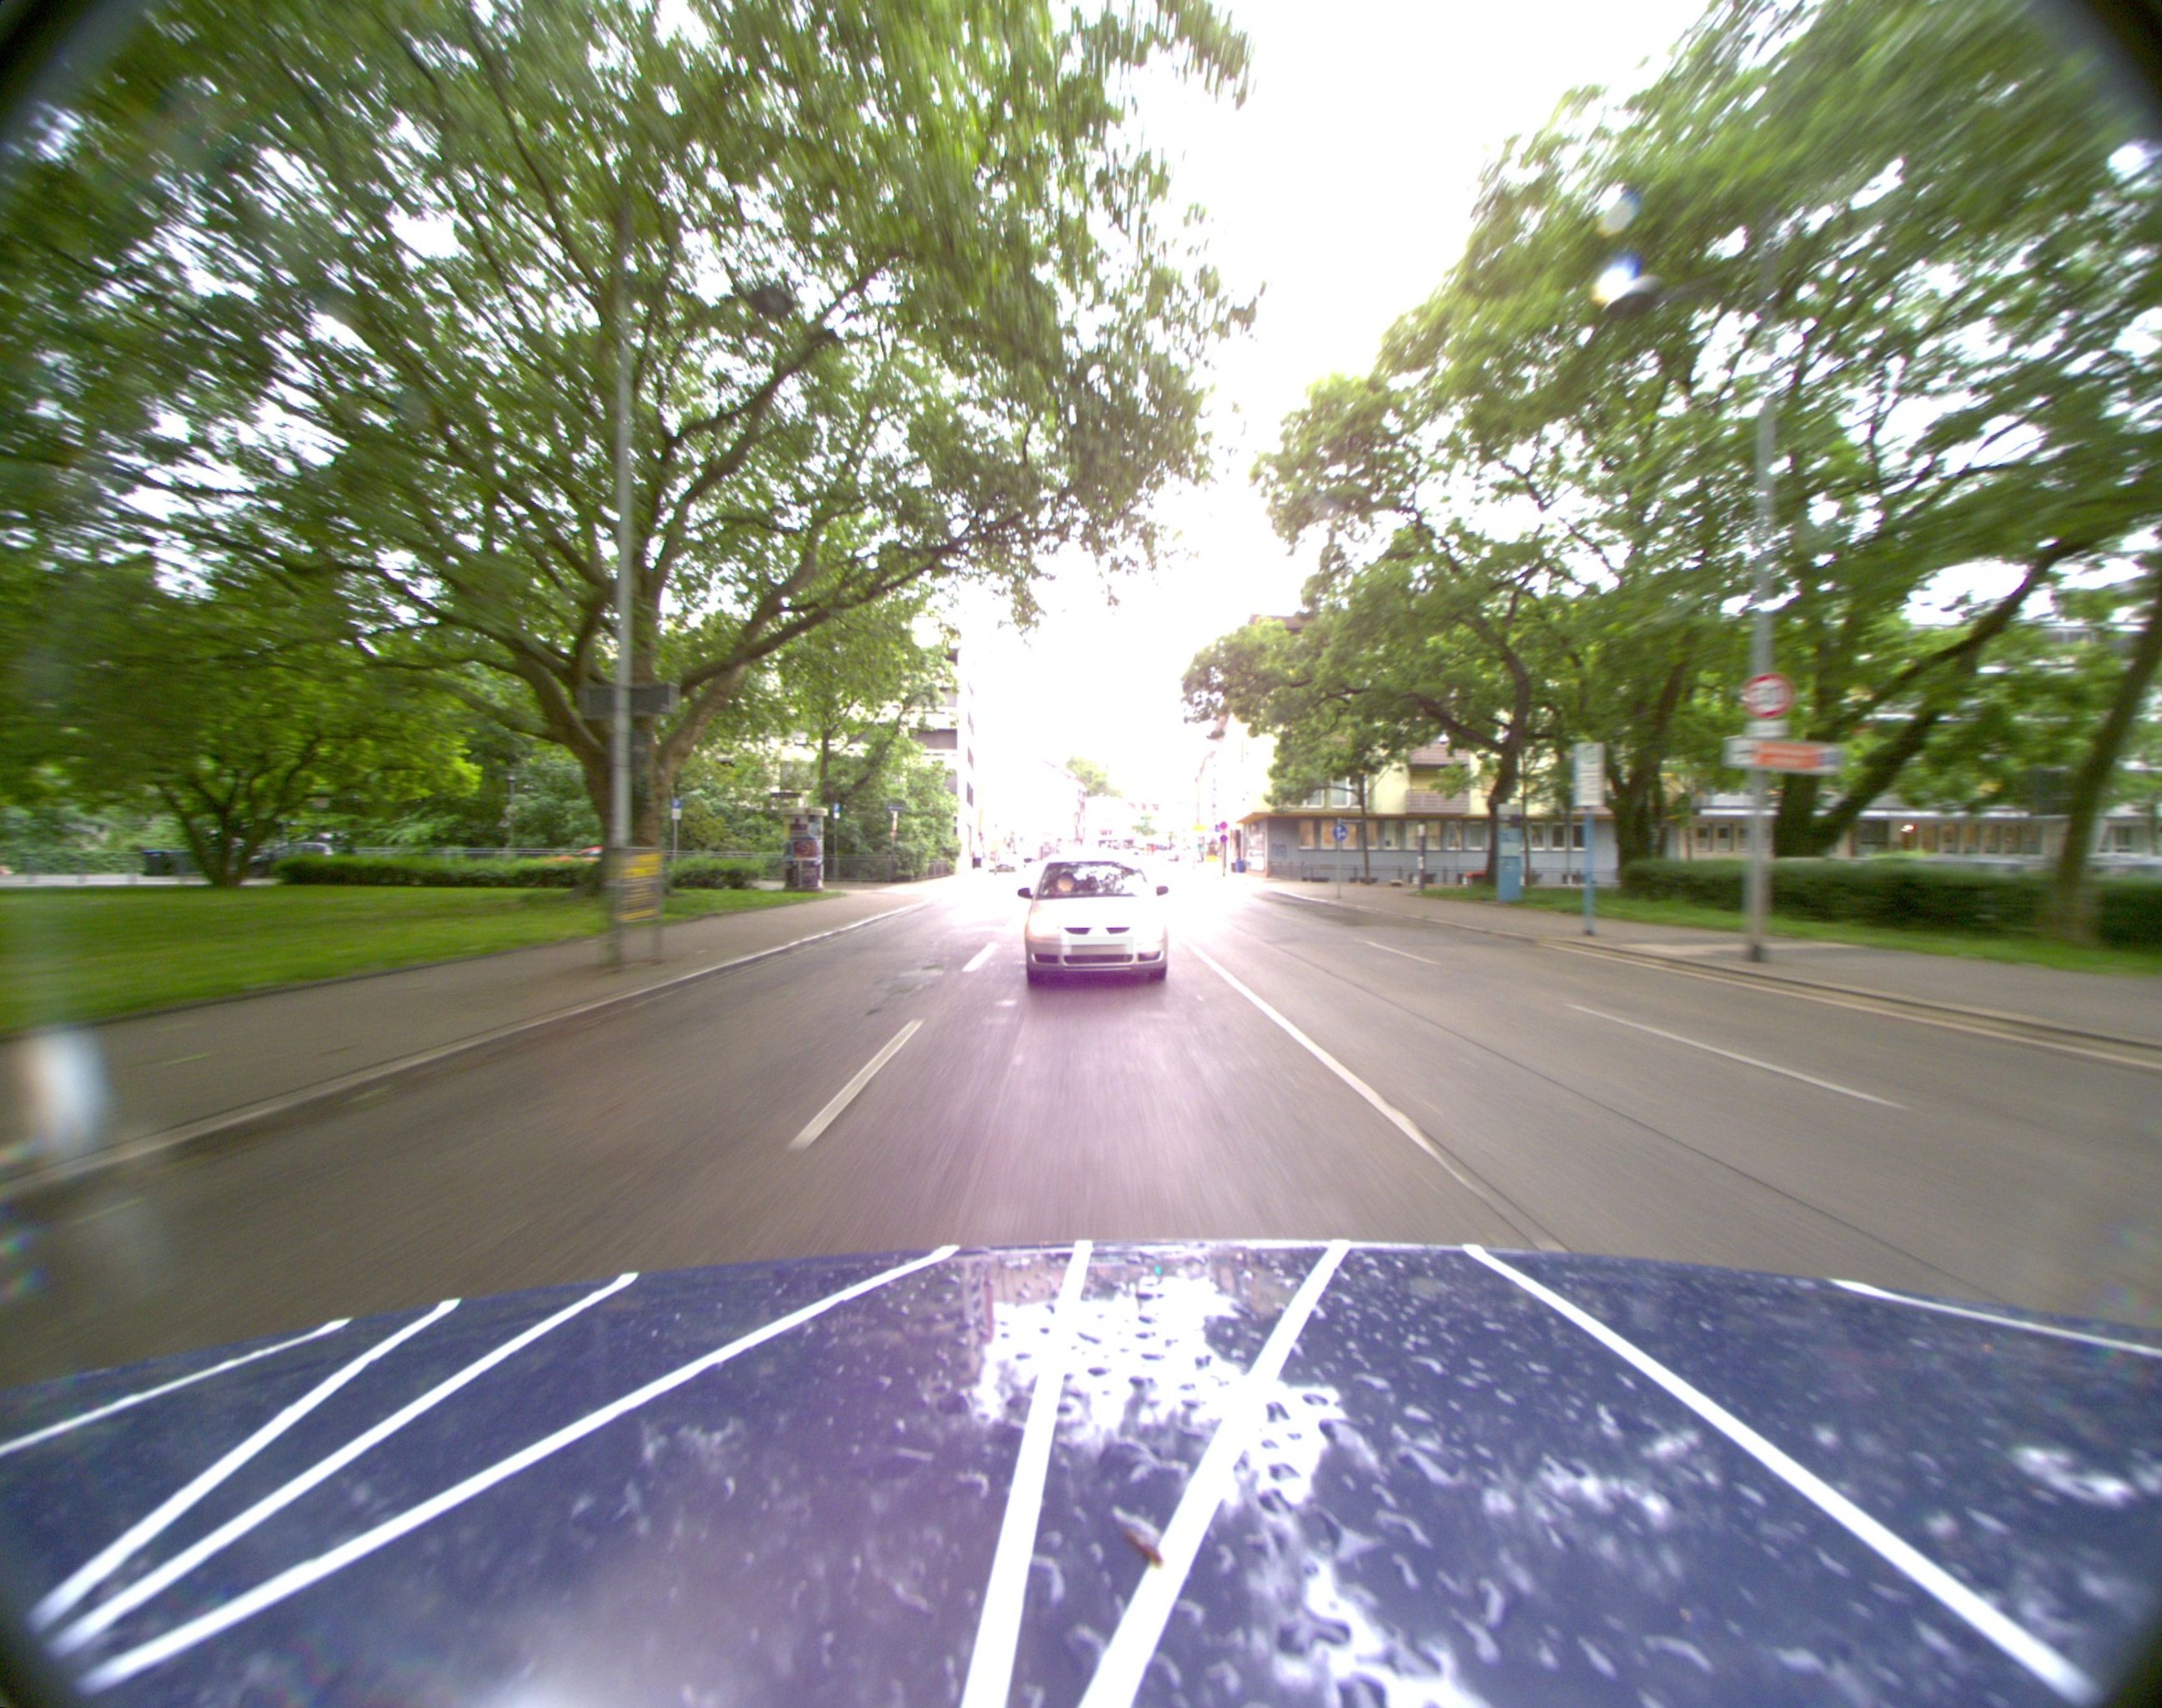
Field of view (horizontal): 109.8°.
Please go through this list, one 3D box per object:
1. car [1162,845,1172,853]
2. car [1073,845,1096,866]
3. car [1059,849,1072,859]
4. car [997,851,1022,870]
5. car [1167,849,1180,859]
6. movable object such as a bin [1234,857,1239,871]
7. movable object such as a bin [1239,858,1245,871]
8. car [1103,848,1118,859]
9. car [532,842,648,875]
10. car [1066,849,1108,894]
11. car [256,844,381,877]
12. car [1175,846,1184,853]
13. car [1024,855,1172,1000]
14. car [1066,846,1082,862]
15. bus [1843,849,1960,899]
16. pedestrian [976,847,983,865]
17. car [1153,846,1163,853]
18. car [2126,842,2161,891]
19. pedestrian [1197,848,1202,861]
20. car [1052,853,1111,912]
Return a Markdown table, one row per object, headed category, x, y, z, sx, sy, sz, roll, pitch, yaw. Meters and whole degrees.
| category | x | y | z | sx | sy | sz | roll | pitch | yaw |
| --- | --- | --- | --- | --- | --- | --- | --- | --- | --- |
| car | 20.132 | -1.273 | 178.101 | 1.998 | 1.841 | 4.001 | 1 | 0 | 4 |
| car | 0.297 | 0.152 | 71.048 | 1.935 | 1.817 | 3.999 | -2 | 1 | -1 |
| car | -2.299 | 0.040 | 113.768 | 1.802 | 1.434 | 3.896 | 1 | 0 | 0 |
| car | -5.999 | 0.528 | 64.059 | 1.681 | 1.424 | 3.681 | 4 | 0 | 0 |
| car | 16.006 | -0.015 | 131.909 | 1.889 | 1.707 | 4.001 | 1 | 0 | 4 |
| movable object such as a bin | 12.102 | 0.786 | 58.952 | 0.338 | 1.023 | 0.353 | 1 | 1 | 7 |
| movable object such as a bin | 12.475 | 0.823 | 58.833 | 0.415 | 1.023 | 0.353 | 1 | 1 | 7 |
| car | 3.835 | -0.115 | 99.430 | 1.701 | 1.434 | 3.896 | 1 | 0 | 0 |
| car | -20.504 | 0.190 | 31.823 | 3.790 | 1.271 | 1.576 | 1 | 1 | -4 |
| car | 0.195 | 0.664 | 30.932 | 1.584 | 1.705 | 3.648 | 1 | 1 | -1 |
| car | -31.107 | 0.251 | 31.062 | 3.468 | 1.271 | 1.448 | 1 | 1 | -6 |
| car | 23.007 | -1.088 | 177.108 | 1.867 | 1.648 | 4.001 | 1 | 0 | 4 |
| car | 0.189 | 0.802 | 9.872 | 1.576 | 1.514 | 3.240 | -1 | 1 | 0 |
| car | -0.834 | -0.005 | 93.704 | 1.935 | 1.817 | 3.999 | 1 | 1 | -1 |
| bus | 33.026 | 0.786 | 30.595 | 3.731 | 1.913 | 1.711 | 1 | 1 | -17 |
| pedestrian | -8.685 | 0.184 | 64.958 | 0.480 | 1.521 | 0.481 | -2 | 2 | 0 |
| car | 17.463 | -0.967 | 172.887 | 1.998 | 1.631 | 4.001 | 1 | 0 | 4 |
| car | 45.683 | 0.531 | 31.201 | 4.003 | 2.002 | 1.997 | 1 | 1 | -17 |
| pedestrian | 16.596 | 0.110 | 106.394 | 0.594 | 1.833 | 0.565 | 1 | 1 | 7 |
| car | 0.066 | 0.772 | 22.527 | 1.590 | 1.540 | 3.771 | 1 | 0 | 2 |
